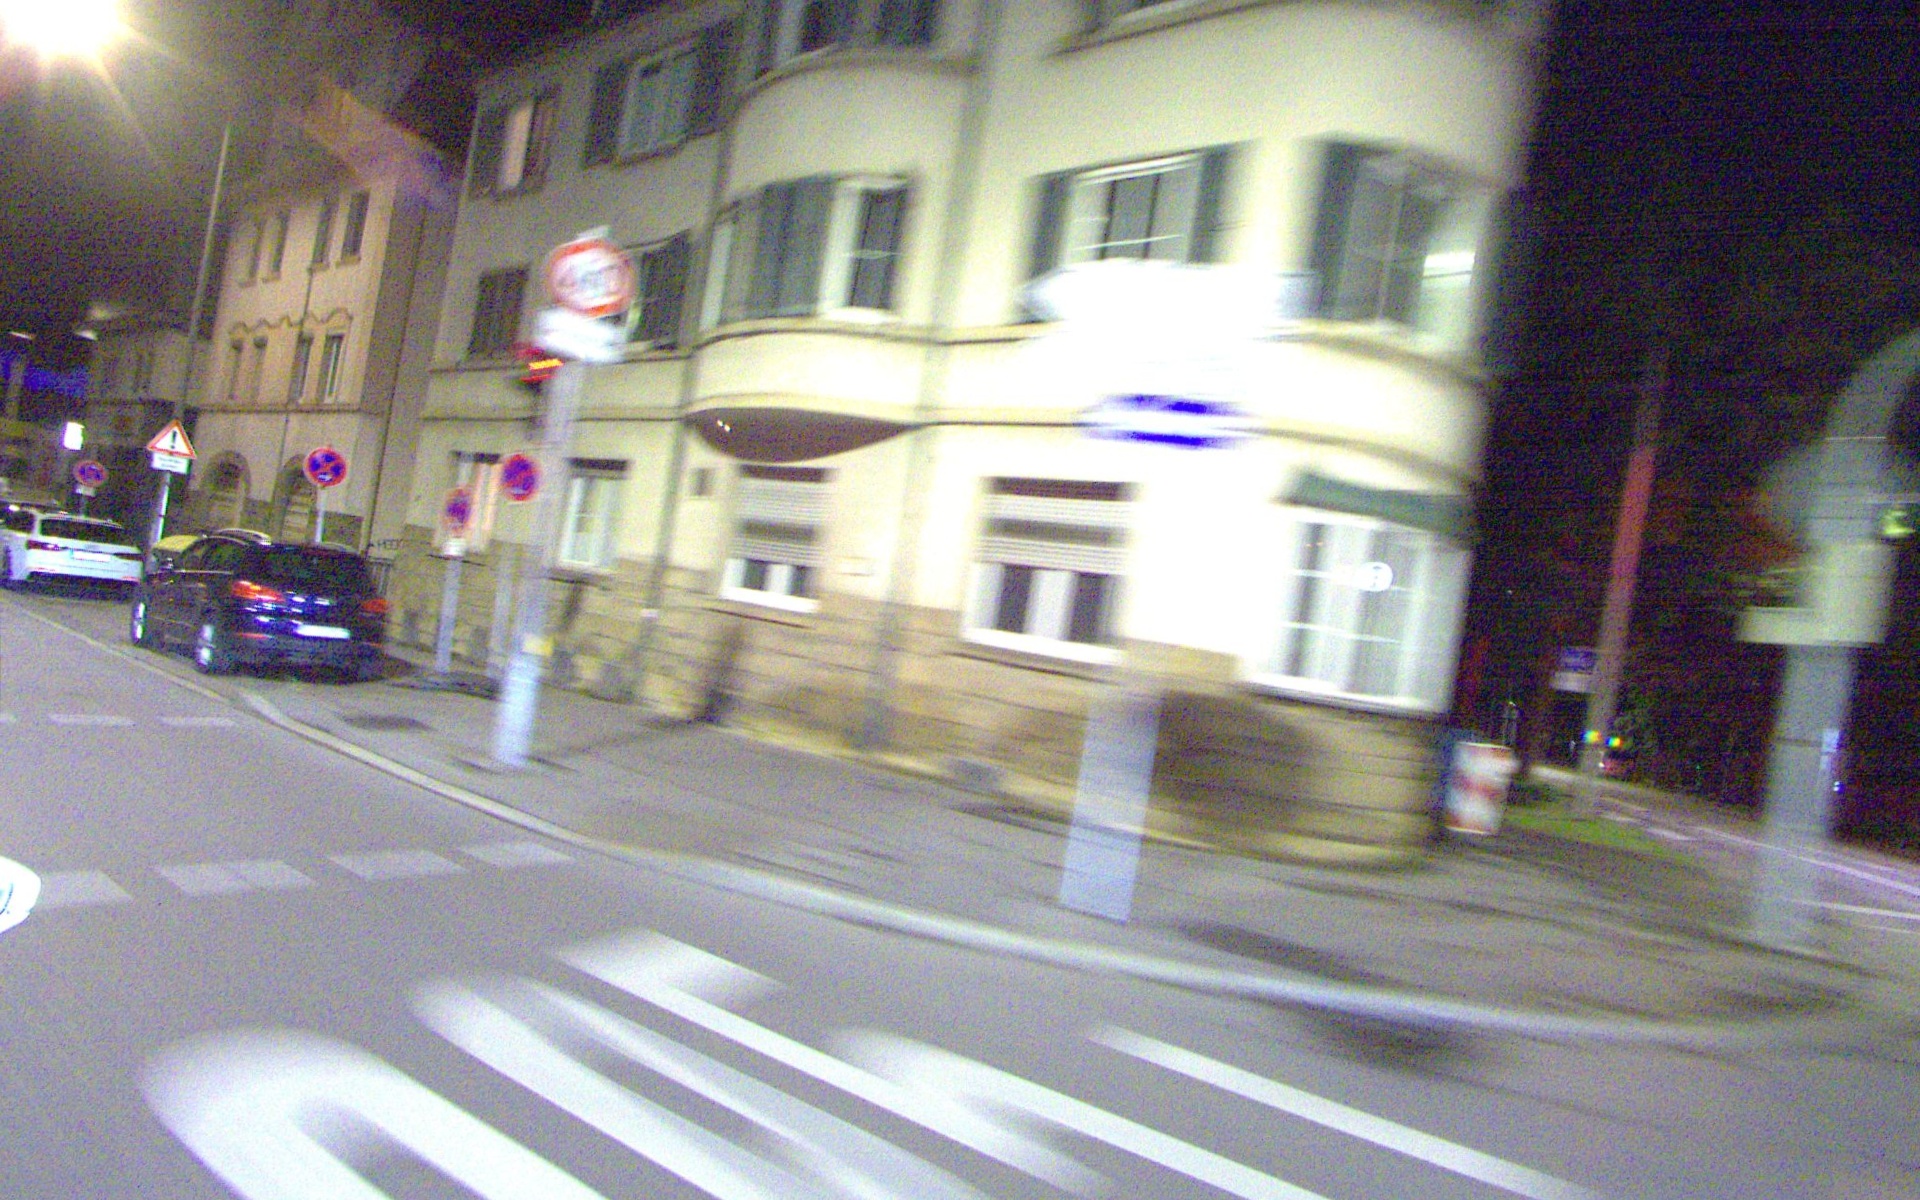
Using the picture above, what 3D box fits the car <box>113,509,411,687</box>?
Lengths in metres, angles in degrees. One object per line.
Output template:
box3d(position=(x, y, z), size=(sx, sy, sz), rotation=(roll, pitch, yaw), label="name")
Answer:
box3d(position=(-8.943, -0.076, 12.773), size=(4.193, 1.703, 1.745), rotation=(7, -1, 37), label="car")

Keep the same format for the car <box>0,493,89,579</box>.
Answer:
box3d(position=(-21.083, -1.532, 22.304), size=(4.146, 1.584, 1.745), rotation=(7, -1, 37), label="car")

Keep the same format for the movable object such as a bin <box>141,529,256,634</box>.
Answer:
box3d(position=(-11.948, -0.291, 15.783), size=(1.317, 1.449, 0.938), rotation=(7, -1, 34), label="movable object such as a bin")

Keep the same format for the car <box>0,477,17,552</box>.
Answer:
box3d(position=(-27.939, -2.588, 27.566), size=(5.289, 1.951, 2.073), rotation=(7, -1, 37), label="car")

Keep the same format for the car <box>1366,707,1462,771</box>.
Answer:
box3d(position=(14.294, 4.339, 31.905), size=(1.962, 1.521, 4.007), rotation=(8, -3, 15), label="car")

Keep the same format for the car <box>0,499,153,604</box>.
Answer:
box3d(position=(-17.127, -0.990, 18.973), size=(4.760, 1.526, 1.745), rotation=(7, -1, 37), label="car")

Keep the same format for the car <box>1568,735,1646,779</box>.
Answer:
box3d(position=(31.974, 7.719, 49.824), size=(1.962, 1.680, 3.912), rotation=(9, -4, 16), label="car")
